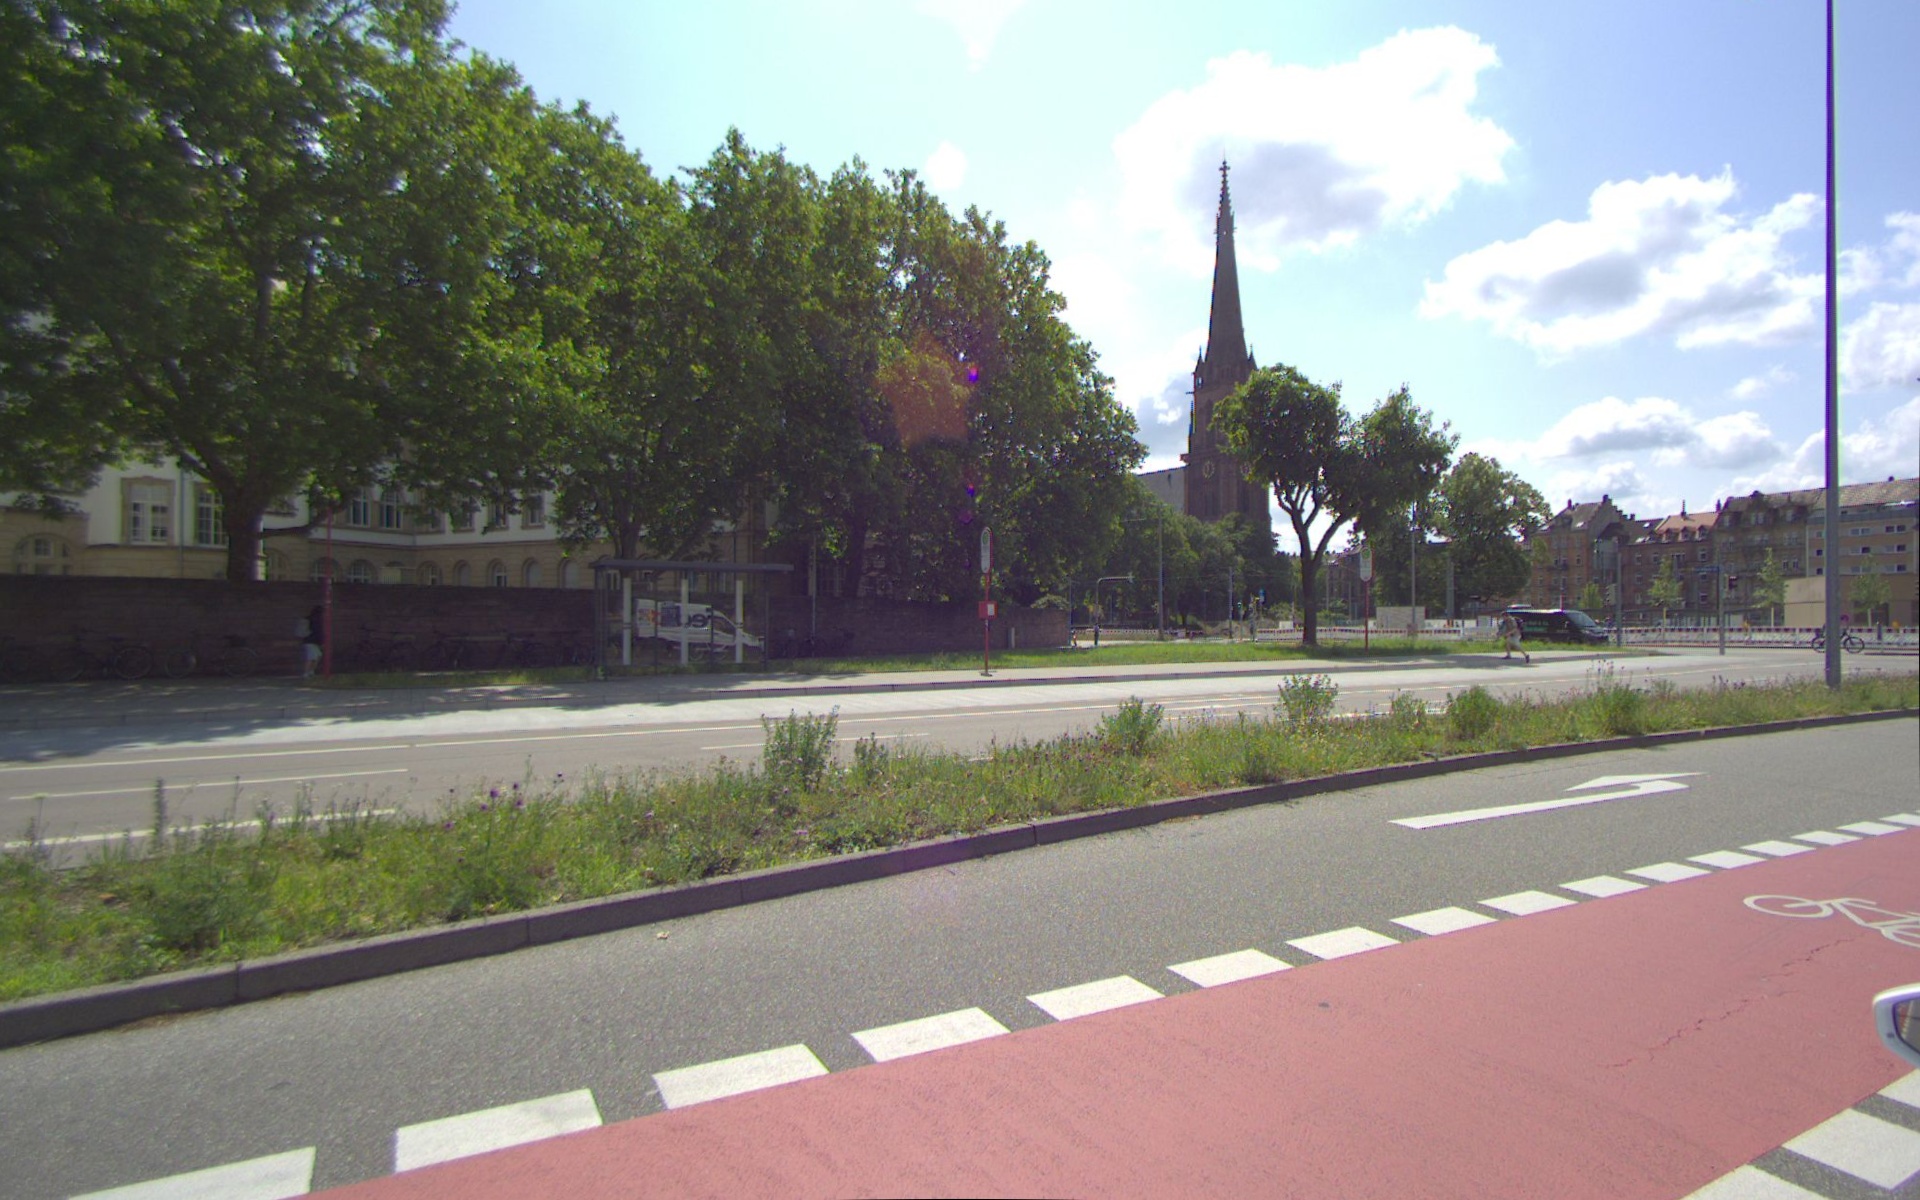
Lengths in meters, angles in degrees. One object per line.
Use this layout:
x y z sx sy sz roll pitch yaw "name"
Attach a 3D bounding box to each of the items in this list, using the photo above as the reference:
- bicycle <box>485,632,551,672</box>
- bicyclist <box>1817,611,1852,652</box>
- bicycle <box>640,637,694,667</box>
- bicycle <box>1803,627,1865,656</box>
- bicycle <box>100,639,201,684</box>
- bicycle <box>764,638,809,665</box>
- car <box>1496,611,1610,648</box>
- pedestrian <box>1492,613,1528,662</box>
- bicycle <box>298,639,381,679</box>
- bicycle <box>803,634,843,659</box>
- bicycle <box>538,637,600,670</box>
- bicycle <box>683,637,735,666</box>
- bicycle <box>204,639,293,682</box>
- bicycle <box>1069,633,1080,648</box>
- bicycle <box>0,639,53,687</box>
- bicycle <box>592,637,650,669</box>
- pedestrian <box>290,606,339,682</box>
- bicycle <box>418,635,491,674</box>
-12.285 1.427 27.958 0.538 1.065 1.614 -1 -1 43 "bicycle"
40.457 1.440 46.466 0.588 1.869 1.111 0 -1 -37 "bicyclist"
-9.372 1.643 32.157 0.537 0.914 1.658 -1 -1 39 "bicycle"
40.432 1.890 46.488 0.598 1.307 2.050 1 -1 -35 "bicycle"
-17.633 1.320 21.905 0.538 0.914 1.655 -1 -1 45 "bicycle"
-6.299 1.863 36.517 0.537 0.914 1.658 -1 -1 39 "bicycle"
32.006 1.548 54.365 1.908 1.904 4.980 0 -1 -32 "car"
17.844 1.204 32.616 0.858 1.580 0.556 0 -1 3 "pedestrian"
-15.200 1.432 24.618 0.538 0.914 1.655 -1 -1 44 "bicycle"
-5.229 1.775 38.307 0.536 0.914 1.660 0 -1 34 "bicycle"
-11.443 1.558 29.446 0.537 0.914 1.658 -1 -1 39 "bicycle"
-8.393 1.724 33.648 0.446 0.914 1.786 -1 -1 39 "bicycle"
-16.300 1.373 23.055 1.648 0.914 0.499 1 -1 -34 "bicycle"
7.242 2.536 63.520 0.534 0.914 1.666 0 -1 12 "bicycle"
-19.234 1.261 20.067 1.653 0.914 0.538 1 -1 -42 "bicycle"
-10.390 1.616 30.805 0.537 0.914 1.658 -1 -1 39 "bicycle"
-14.399 0.967 22.420 0.607 1.638 0.754 1 0 39 "pedestrian"
-13.433 1.432 26.724 0.538 0.964 1.656 -1 -1 43 "bicycle"
